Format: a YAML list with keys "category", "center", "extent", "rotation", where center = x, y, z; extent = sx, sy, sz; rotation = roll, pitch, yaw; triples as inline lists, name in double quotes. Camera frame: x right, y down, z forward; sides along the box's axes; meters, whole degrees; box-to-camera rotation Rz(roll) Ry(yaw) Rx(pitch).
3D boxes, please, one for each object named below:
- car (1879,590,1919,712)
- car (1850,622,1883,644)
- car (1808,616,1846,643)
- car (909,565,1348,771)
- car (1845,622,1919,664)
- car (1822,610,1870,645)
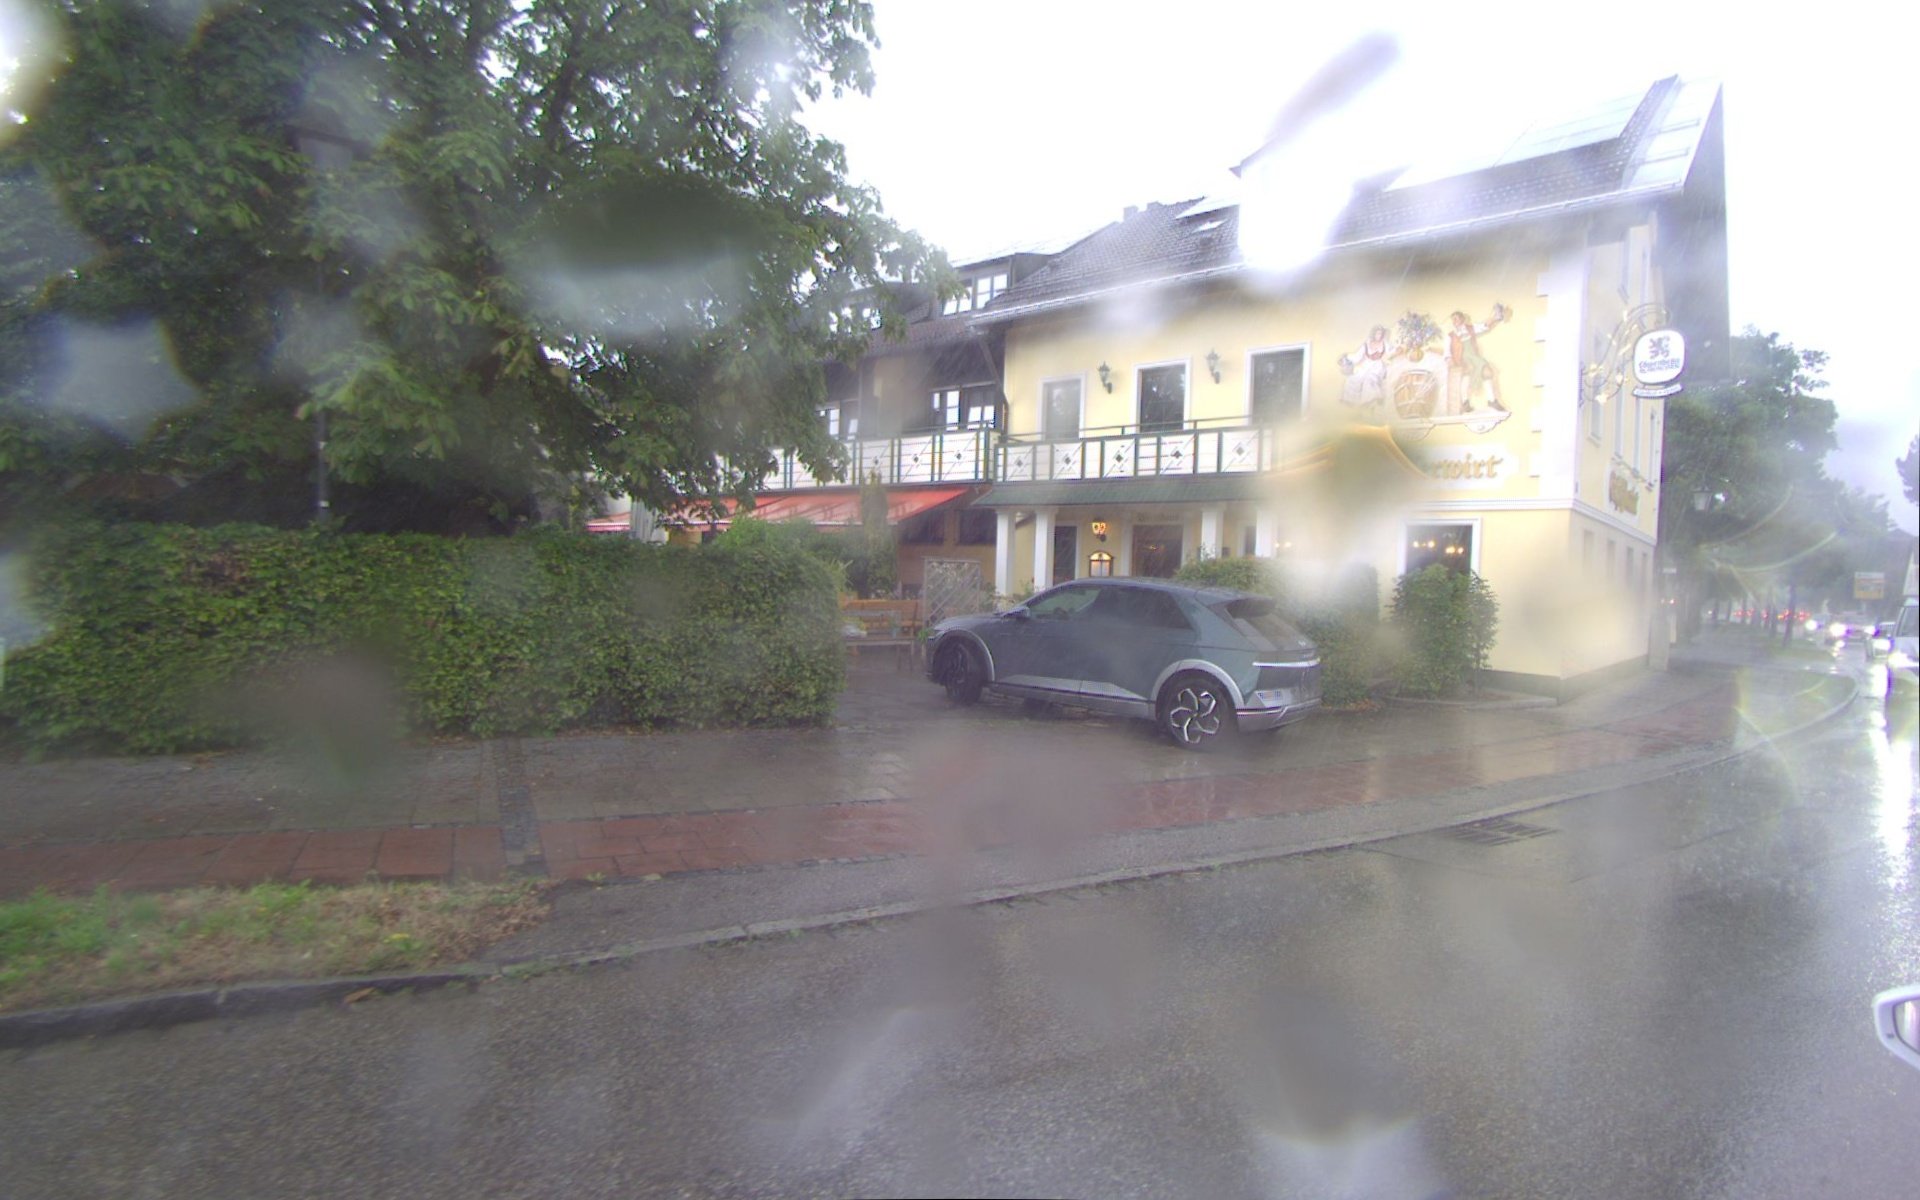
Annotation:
- category: "car"
  center: [17.588, 0.899, 17.626]
  extent: [4.669, 1.997, 1.833]
  rotation: [2, -1, -44]
- category: "car"
  center: [90.480, 3.270, 100.289]
  extent: [2.143, 1.925, 4.990]
  rotation: [3, 2, 40]
- category: "car"
  center: [59.325, 2.015, 68.734]
  extent: [1.841, 1.781, 4.460]
  rotation: [-2, -2, 41]
- category: "car"
  center: [1.713, 0.541, 11.141]
  extent: [4.420, 1.589, 1.831]
  rotation: [6, 6, 38]
- category: "car"
  center: [33.858, 1.546, 36.895]
  extent: [1.840, 1.377, 4.462]
  rotation: [0, 0, 40]
- category: "car"
  center: [47.027, 1.448, 53.367]
  extent: [1.841, 1.781, 4.460]
  rotation: [-2, -2, 41]
